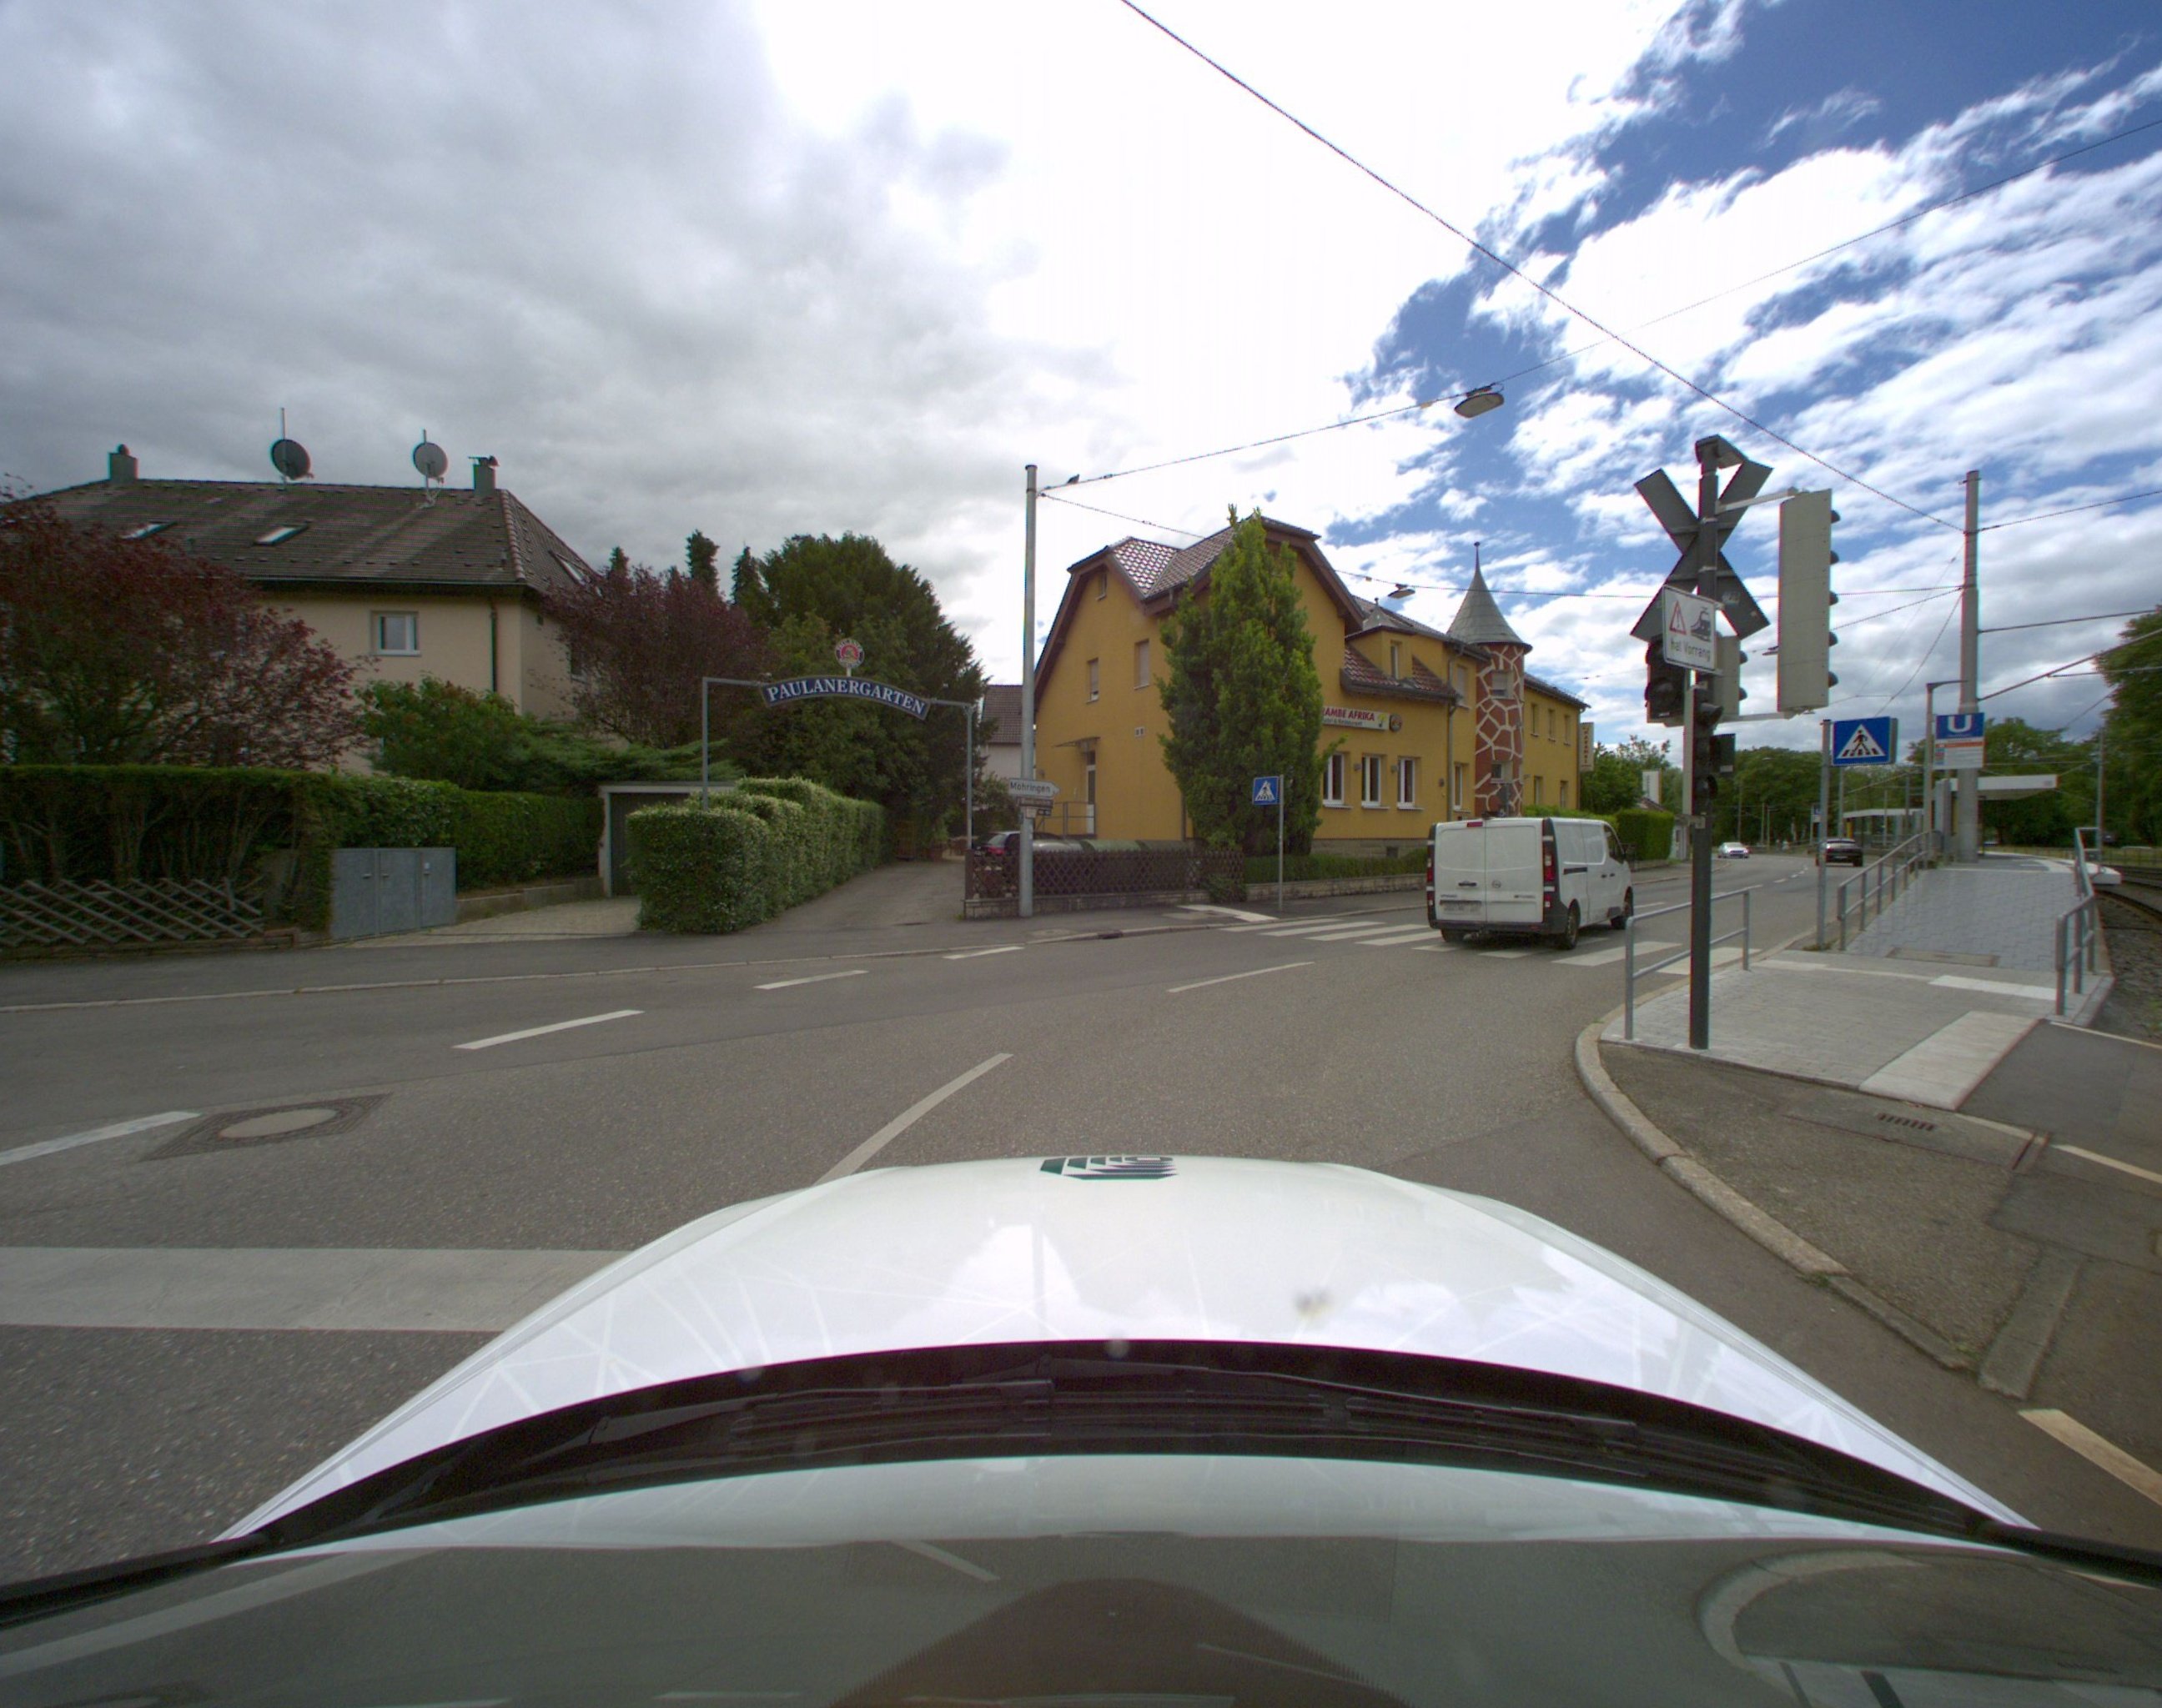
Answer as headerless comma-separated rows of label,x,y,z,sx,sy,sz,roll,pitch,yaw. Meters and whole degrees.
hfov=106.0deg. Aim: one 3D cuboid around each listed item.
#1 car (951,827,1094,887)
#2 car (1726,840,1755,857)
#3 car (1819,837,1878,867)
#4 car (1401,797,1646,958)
car,-1.615,0.015,23.009,3.697,1.426,1.708,-3,5,-37
car,59.744,-0.491,73.820,1.801,1.419,4.492,-2,-1,36
car,44.085,-0.162,46.890,2.334,1.564,4.399,3,2,42
car,7.485,0.229,13.454,2.098,2.134,5.473,2,3,44
